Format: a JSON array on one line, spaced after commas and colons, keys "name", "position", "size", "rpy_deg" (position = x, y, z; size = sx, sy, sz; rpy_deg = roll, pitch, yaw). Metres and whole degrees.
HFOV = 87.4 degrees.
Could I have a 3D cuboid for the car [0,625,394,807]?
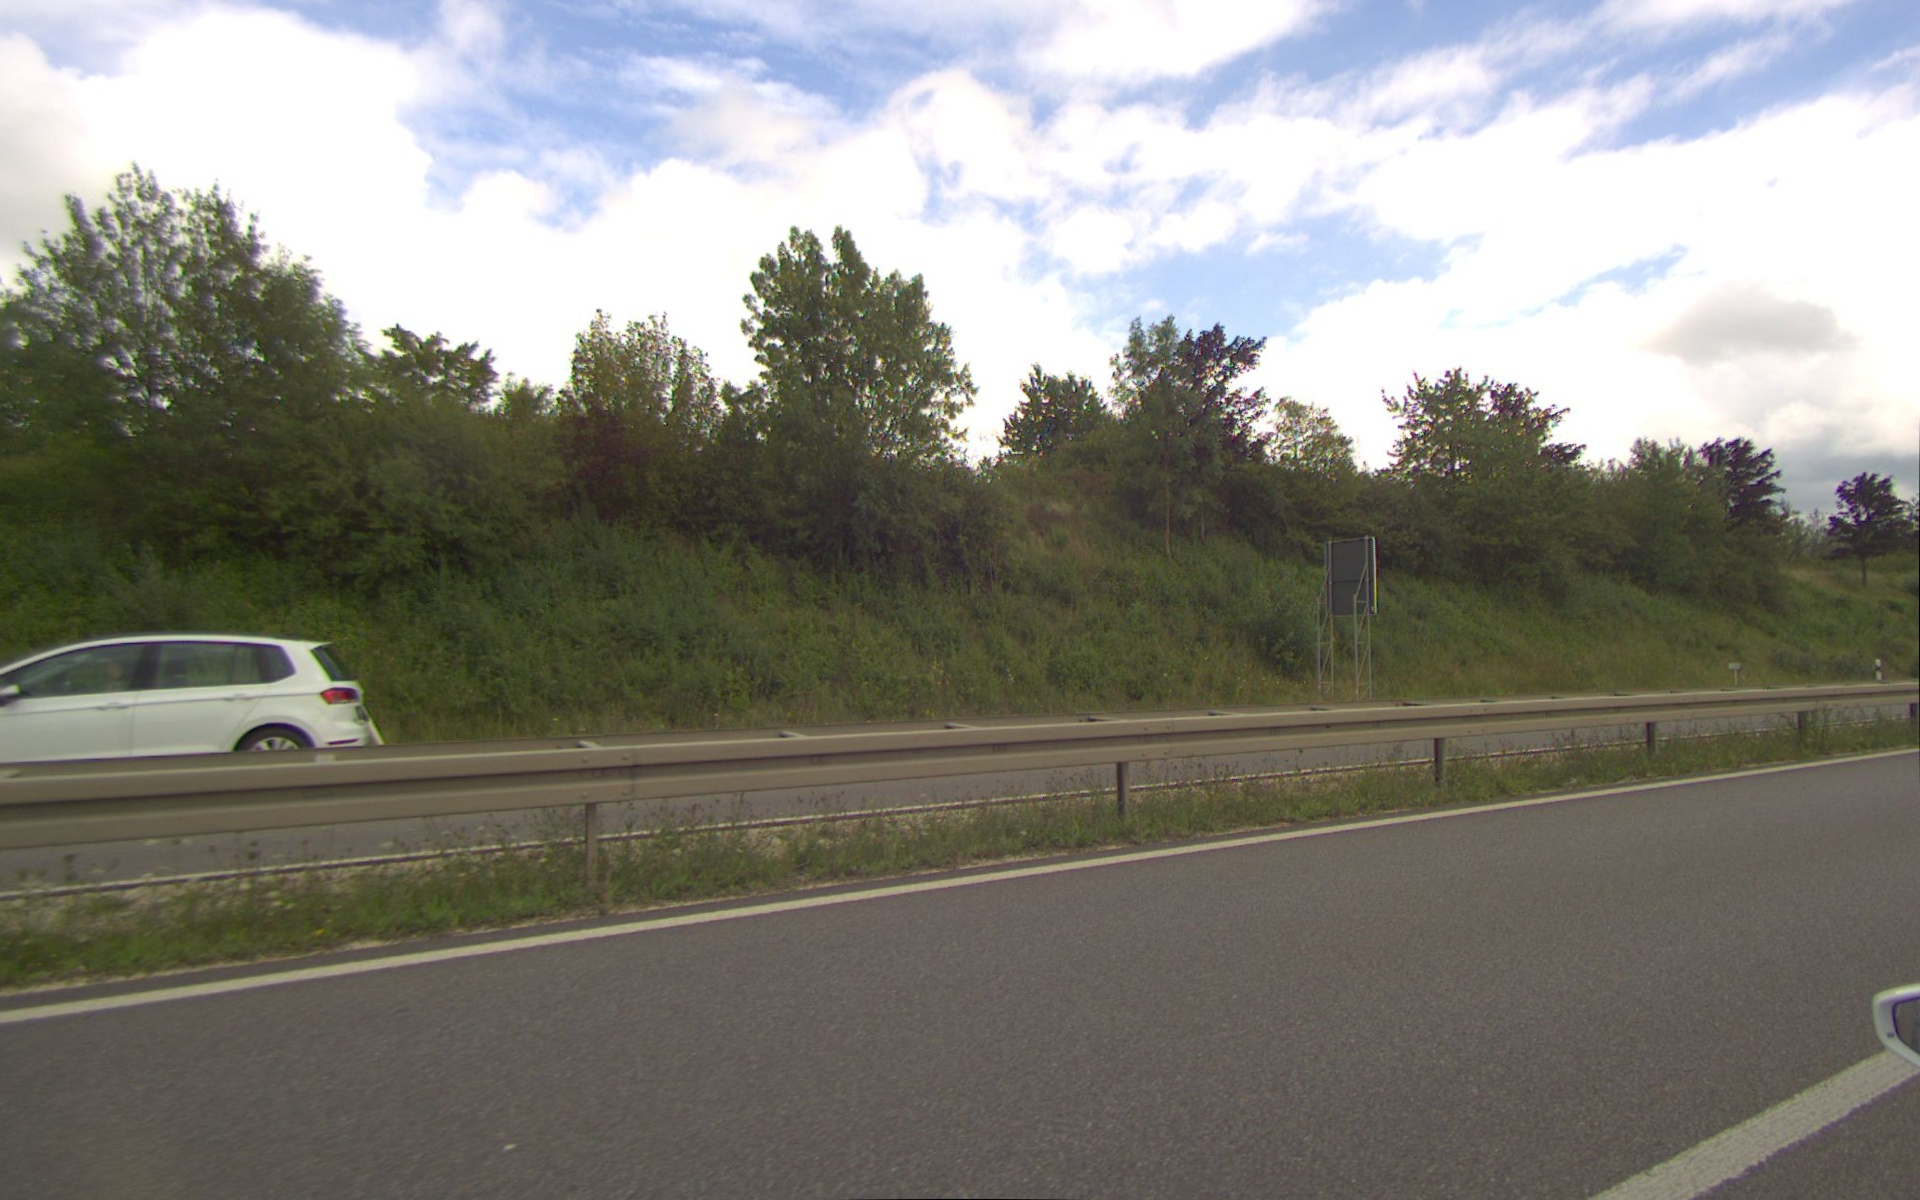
[{"name": "car", "position": [-8.281, 1.084, 10.166], "size": [4.411, 1.538, 1.911], "rpy_deg": [-1, -1, -31]}]
